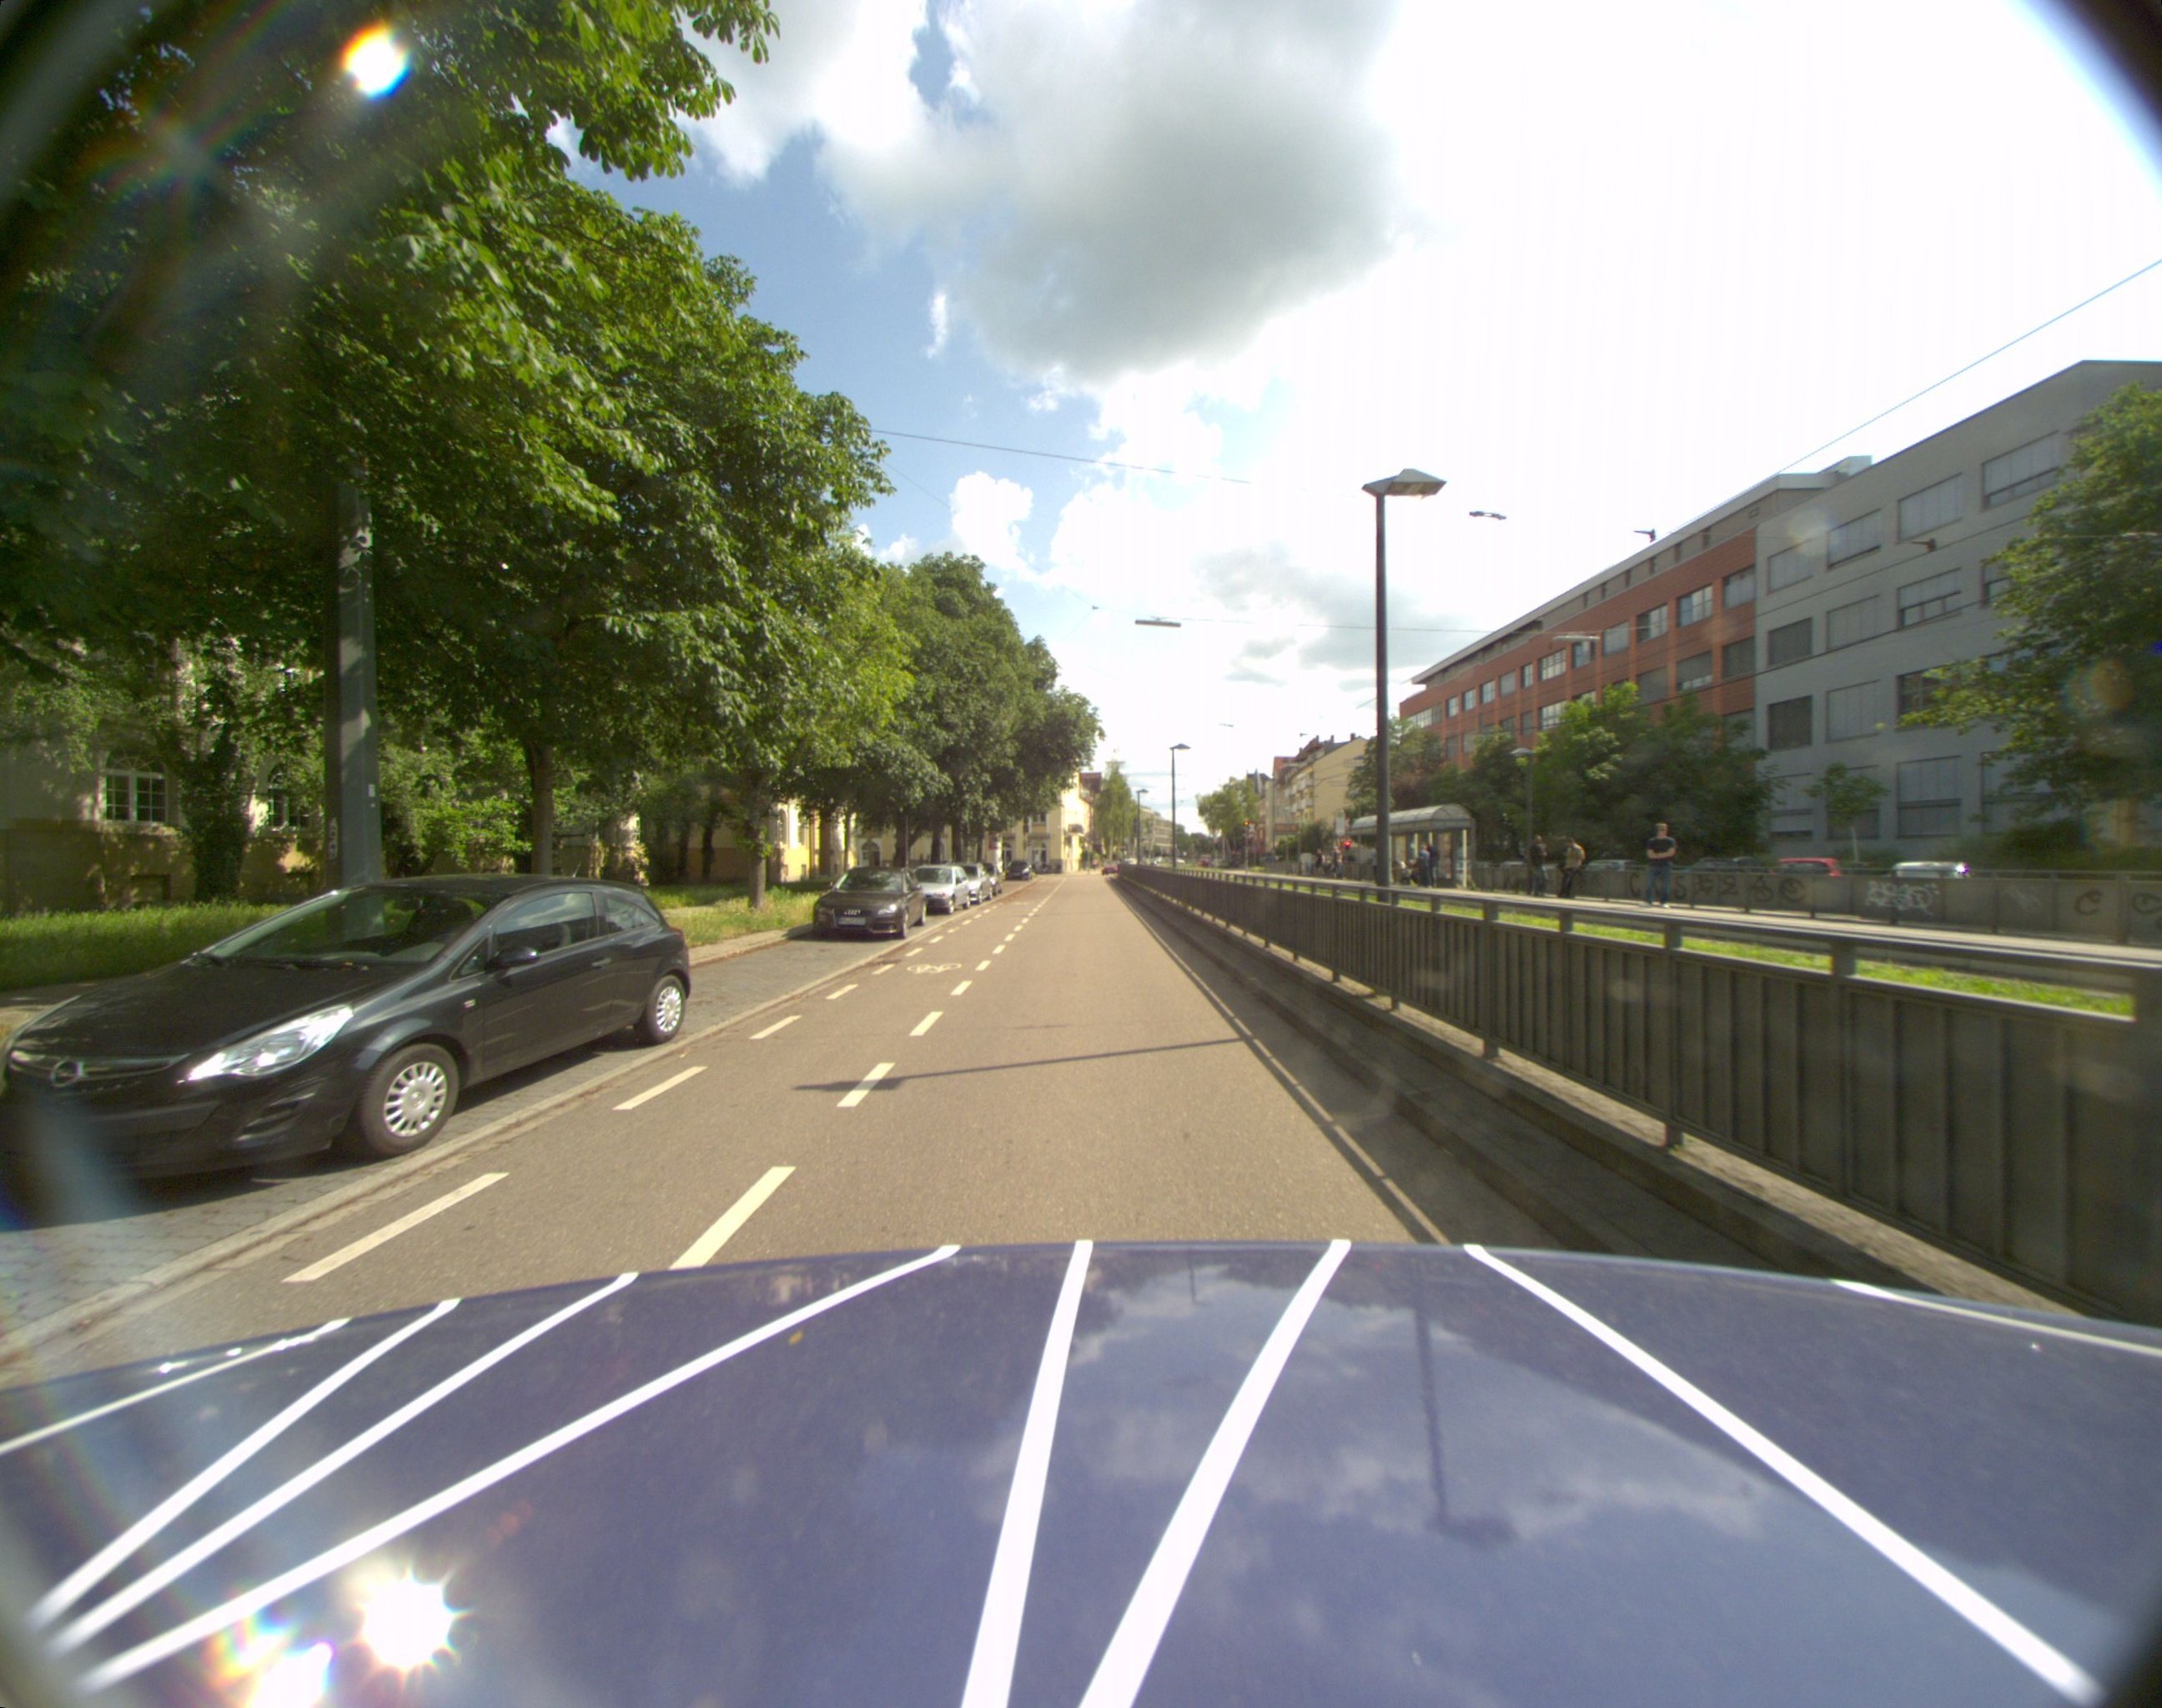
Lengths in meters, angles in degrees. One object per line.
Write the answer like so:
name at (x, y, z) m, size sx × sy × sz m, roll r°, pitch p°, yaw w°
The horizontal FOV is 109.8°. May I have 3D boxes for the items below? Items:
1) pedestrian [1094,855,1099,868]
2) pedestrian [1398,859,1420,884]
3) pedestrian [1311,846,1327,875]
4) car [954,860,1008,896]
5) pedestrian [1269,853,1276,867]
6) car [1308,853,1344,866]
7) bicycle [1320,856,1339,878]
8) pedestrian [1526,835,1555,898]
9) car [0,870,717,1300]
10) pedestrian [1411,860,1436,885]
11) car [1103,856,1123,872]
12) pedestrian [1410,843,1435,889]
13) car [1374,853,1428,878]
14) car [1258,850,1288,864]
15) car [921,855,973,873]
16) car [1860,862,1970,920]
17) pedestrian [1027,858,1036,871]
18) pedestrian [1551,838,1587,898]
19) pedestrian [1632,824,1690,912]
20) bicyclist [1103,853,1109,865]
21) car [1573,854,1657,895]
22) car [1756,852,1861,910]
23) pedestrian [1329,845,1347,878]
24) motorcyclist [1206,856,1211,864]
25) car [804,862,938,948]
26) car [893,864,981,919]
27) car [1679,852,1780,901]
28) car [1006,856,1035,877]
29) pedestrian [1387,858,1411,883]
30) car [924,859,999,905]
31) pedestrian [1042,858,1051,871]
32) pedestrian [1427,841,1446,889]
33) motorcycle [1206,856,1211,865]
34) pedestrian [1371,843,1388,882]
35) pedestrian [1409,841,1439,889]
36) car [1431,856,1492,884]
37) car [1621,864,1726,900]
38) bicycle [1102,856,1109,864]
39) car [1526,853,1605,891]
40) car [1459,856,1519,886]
pedestrian at (1.977, 0.948, 96.625) m, size 0.593 × 1.622 × 0.538 m, roll 2°, pitch 1°, yaw 3°
pedestrian at (13.750, 0.720, 31.852) m, size 0.655 × 1.025 × 0.562 m, roll 1°, pitch 2°, yaw -2°
pedestrian at (14.084, 0.384, 45.008) m, size 0.667 × 1.689 × 0.798 m, roll 0°, pitch 1°, yaw -2°
car at (-4.438, 1.037, 34.373) m, size 1.834 × 1.392 × 4.656 m, roll 3°, pitch 0°, yaw -1°
pedestrian at (23.266, 0.722, 92.314) m, size 0.650 × 1.700 × 0.481 m, roll 0°, pitch 0°, yaw 1°
car at (28.306, 0.643, 87.809) m, size 3.608 × 1.470 × 1.777 m, roll 0°, pitch -3°, yaw 7°
bicycle at (13.128, 0.696, 40.177) m, size 0.663 × 1.107 × 1.878 m, roll 1°, pitch 1°, yaw 9°
pedestrian at (13.018, 0.340, 21.519) m, size 0.607 × 1.744 × 0.626 m, roll 1°, pitch 2°, yaw 41°
car at (-4.412, 0.973, 5.191) m, size 1.695 × 1.552 × 4.307 m, roll 2°, pitch 0°, yaw 0°
pedestrian at (13.685, 0.742, 30.335) m, size 0.706 × 0.989 × 0.562 m, roll 1°, pitch 1°, yaw -2°
car at (3.052, 0.940, 73.342) m, size 1.790 × 1.499 × 4.000 m, roll -2°, pitch 0°, yaw 0°
pedestrian at (12.421, 0.433, 27.630) m, size 0.598 × 1.623 × 0.558 m, roll 0°, pitch 0°, yaw -14°
car at (22.414, 0.759, 53.150) m, size 3.850 × 1.649 × 1.870 m, roll 0°, pitch 0°, yaw -39°
car at (29.990, 0.462, 118.755) m, size 4.255 × 2.002 × 2.002 m, roll 0°, pitch 0°, yaw 10°
car at (-13.586, 1.017, 76.948) m, size 4.828 × 1.646 × 1.858 m, roll -1°, pitch 2°, yaw 10°
car at (22.577, 0.934, 20.533) m, size 4.031 × 1.383 × 1.811 m, roll 0°, pitch -1°, yaw -40°
pedestrian at (-5.077, 1.120, 78.425) m, size 0.804 × 1.281 × 0.759 m, roll 0°, pitch 2°, yaw 3°
pedestrian at (13.760, 0.378, 21.453) m, size 0.608 × 1.665 × 0.625 m, roll 0°, pitch 1°, yaw 0°
pedestrian at (12.766, 0.295, 16.754) m, size 0.752 × 1.881 × 0.638 m, roll -1°, pitch 3°, yaw 3°
bicyclist at (3.579, 0.737, 110.131) m, size 0.772 × 1.663 × 0.951 m, roll -1°, pitch -1°, yaw -1°
car at (22.760, 0.839, 32.363) m, size 4.007 × 1.520 × 1.668 m, roll -3°, pitch 0°, yaw -36°
car at (22.792, 0.758, 23.756) m, size 4.144 × 1.630 × 1.829 m, roll 0°, pitch 1°, yaw -39°
pedestrian at (13.502, 0.374, 39.993) m, size 0.640 × 1.714 × 0.798 m, roll 0°, pitch 1°, yaw -2°
motorcyclist at (21.644, 0.996, 128.988) m, size 0.663 × 1.350 × 0.693 m, roll -2°, pitch 1°, yaw 3°
car at (-4.417, 0.997, 16.790) m, size 1.836 × 1.458 × 4.829 m, roll 2°, pitch 1°, yaw -3°
car at (-4.200, 1.042, 22.732) m, size 1.639 × 1.423 × 4.016 m, roll 2°, pitch 0°, yaw 3°
car at (22.772, 0.746, 26.651) m, size 4.007 × 1.559 × 1.605 m, roll -1°, pitch 0°, yaw -33°
car at (-4.351, 0.892, 55.188) m, size 1.689 × 1.379 × 3.924 m, roll 1°, pitch 1°, yaw 1°
pedestrian at (13.316, 0.684, 31.835) m, size 0.721 × 1.025 × 0.623 m, roll 1°, pitch 1°, yaw -2°
car at (-4.275, 0.968, 27.942) m, size 1.833 × 1.433 × 5.049 m, roll 3°, pitch 0°, yaw 0°
pedestrian at (-3.545, 1.082, 78.869) m, size 0.804 × 1.238 × 0.892 m, roll 0°, pitch 2°, yaw 3°
pedestrian at (13.662, 0.414, 29.205) m, size 0.444 × 1.816 × 0.623 m, roll 0°, pitch 1°, yaw -2°
motorcycle at (21.669, 1.059, 129.041) m, size 0.634 × 1.395 × 2.010 m, roll -2°, pitch 1°, yaw 3°
pedestrian at (13.077, 0.368, 33.303) m, size 0.487 × 1.716 × 0.623 m, roll -1°, pitch 1°, yaw -2°
pedestrian at (12.714, 0.395, 28.179) m, size 0.634 × 1.733 × 1.036 m, roll 0°, pitch 1°, yaw -2°
car at (22.195, 0.895, 44.282) m, size 3.317 × 1.412 × 1.581 m, roll -3°, pitch 1°, yaw -30°
car at (23.217, 1.081, 29.750) m, size 4.005 × 1.143 × 1.789 m, roll -3°, pitch 0°, yaw -29°
bicycle at (3.573, 0.866, 110.048) m, size 0.772 × 1.097 × 2.572 m, roll 0°, pitch -3°, yaw -2°
car at (22.552, 0.809, 35.339) m, size 4.007 × 1.520 × 1.668 m, roll -3°, pitch 0°, yaw -35°
car at (22.000, 0.895, 40.979) m, size 3.072 × 1.402 × 1.668 m, roll -3°, pitch 3°, yaw -35°
